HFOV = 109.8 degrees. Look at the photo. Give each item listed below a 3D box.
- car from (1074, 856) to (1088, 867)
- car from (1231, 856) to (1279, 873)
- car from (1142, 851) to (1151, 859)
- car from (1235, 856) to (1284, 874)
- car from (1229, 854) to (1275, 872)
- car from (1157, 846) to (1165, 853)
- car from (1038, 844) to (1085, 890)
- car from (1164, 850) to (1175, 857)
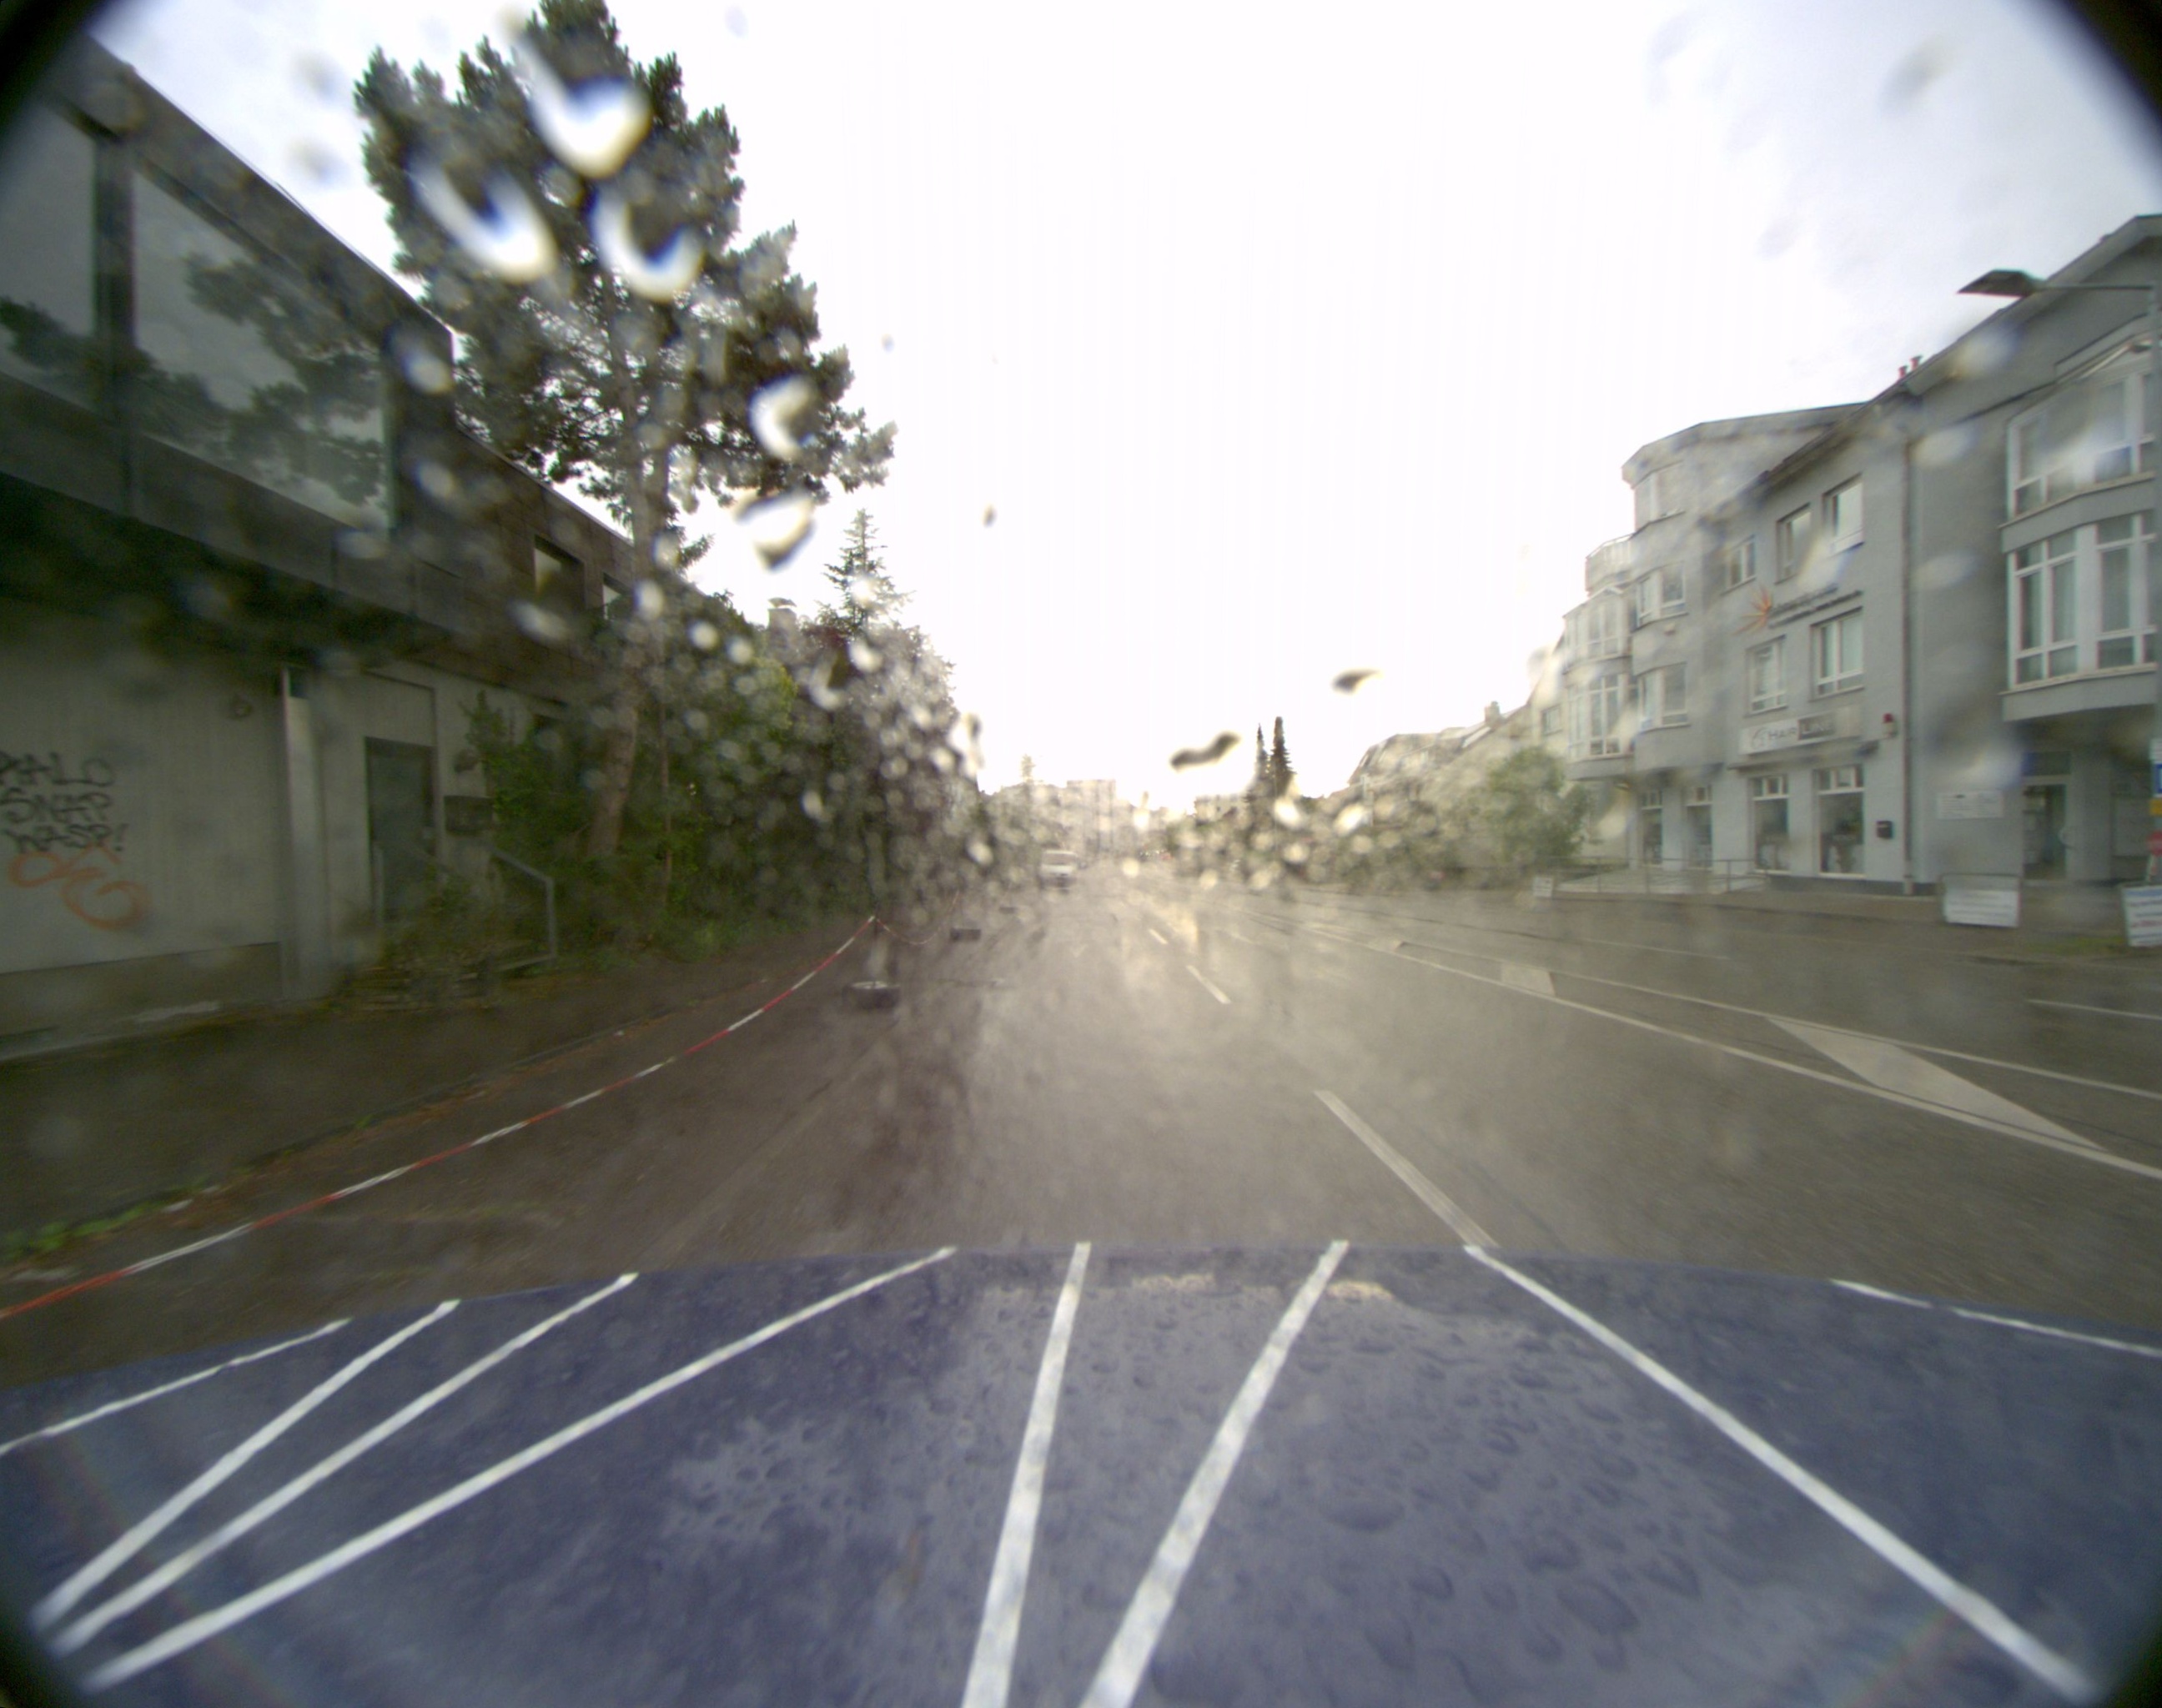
[{"bbox_3d":[0.001,1.222,124.698,1.912,1.622,3.703,-1,0,4],"label":"car"},{"bbox_3d":[16.274,0.968,71.345,4.155,1.434,1.891,-3,0,7],"label":"car"},{"bbox_3d":[15.086,0.225,175.415,1.851,1.870,4.122,-1,0,4],"label":"car"},{"bbox_3d":[16.044,0.945,68.587,4.034,1.433,1.813,-3,0,5],"label":"car"},{"bbox_3d":[16.652,0.905,74.061,4.114,1.536,2.001,-3,0,5],"label":"car"},{"bbox_3d":[21.616,-1.121,205.766,1.850,1.753,4.124,-1,0,10],"label":"car"},{"bbox_3d":[-1.010,0.692,42.573,2.397,2.417,6.433,0,0,0],"label":"car"},{"bbox_3d":[20.049,-0.145,171.920,1.997,1.606,4.003,-1,0,11],"label":"car"}]
